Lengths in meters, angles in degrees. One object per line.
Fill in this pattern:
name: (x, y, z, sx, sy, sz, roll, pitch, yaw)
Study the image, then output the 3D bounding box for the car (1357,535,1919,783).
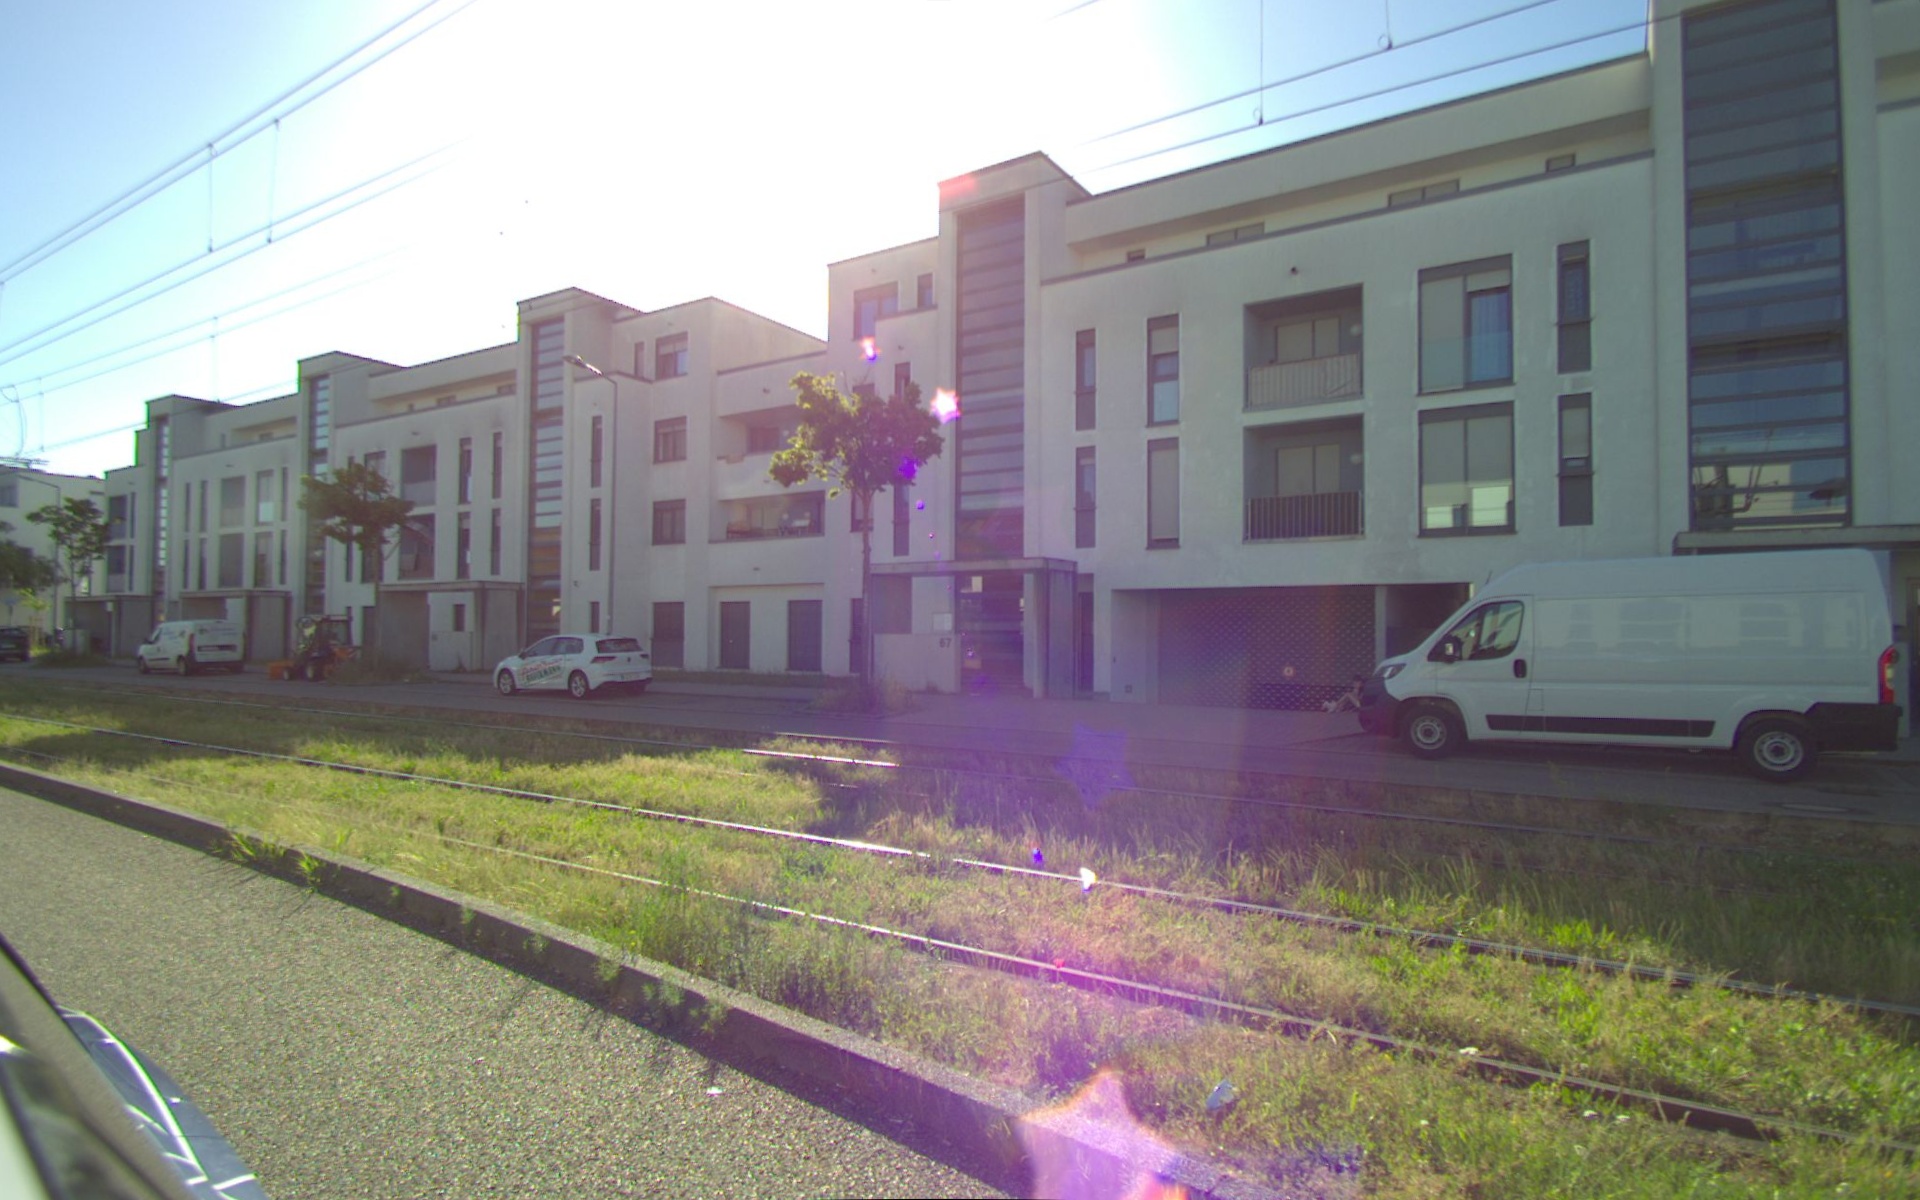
car: (8.038, 0.644, 12.392, 5.575, 2.463, 2.122, -2, -1, 34)

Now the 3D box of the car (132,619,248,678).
car: (-26.353, 1.639, 34.607, 4.142, 1.884, 1.749, -1, -1, 31)

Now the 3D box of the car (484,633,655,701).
car: (-9.167, 1.523, 23.648, 4.142, 1.443, 1.506, -1, -1, 31)

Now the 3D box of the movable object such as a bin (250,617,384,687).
movable object such as a bin: (-19.272, 1.517, 30.303, 4.142, 1.952, 1.749, -1, -1, 31)

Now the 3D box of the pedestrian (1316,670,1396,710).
pedestrian: (7.191, 1.627, 18.398, 1.283, 0.658, 0.361, -2, -1, 37)

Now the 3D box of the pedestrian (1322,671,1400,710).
pedestrian: (7.403, 1.659, 18.697, 1.283, 0.658, 0.361, -2, -1, 37)

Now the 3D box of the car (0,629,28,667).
car: (-43.175, 2.117, 44.786, 4.142, 1.611, 1.749, -1, -1, 31)
